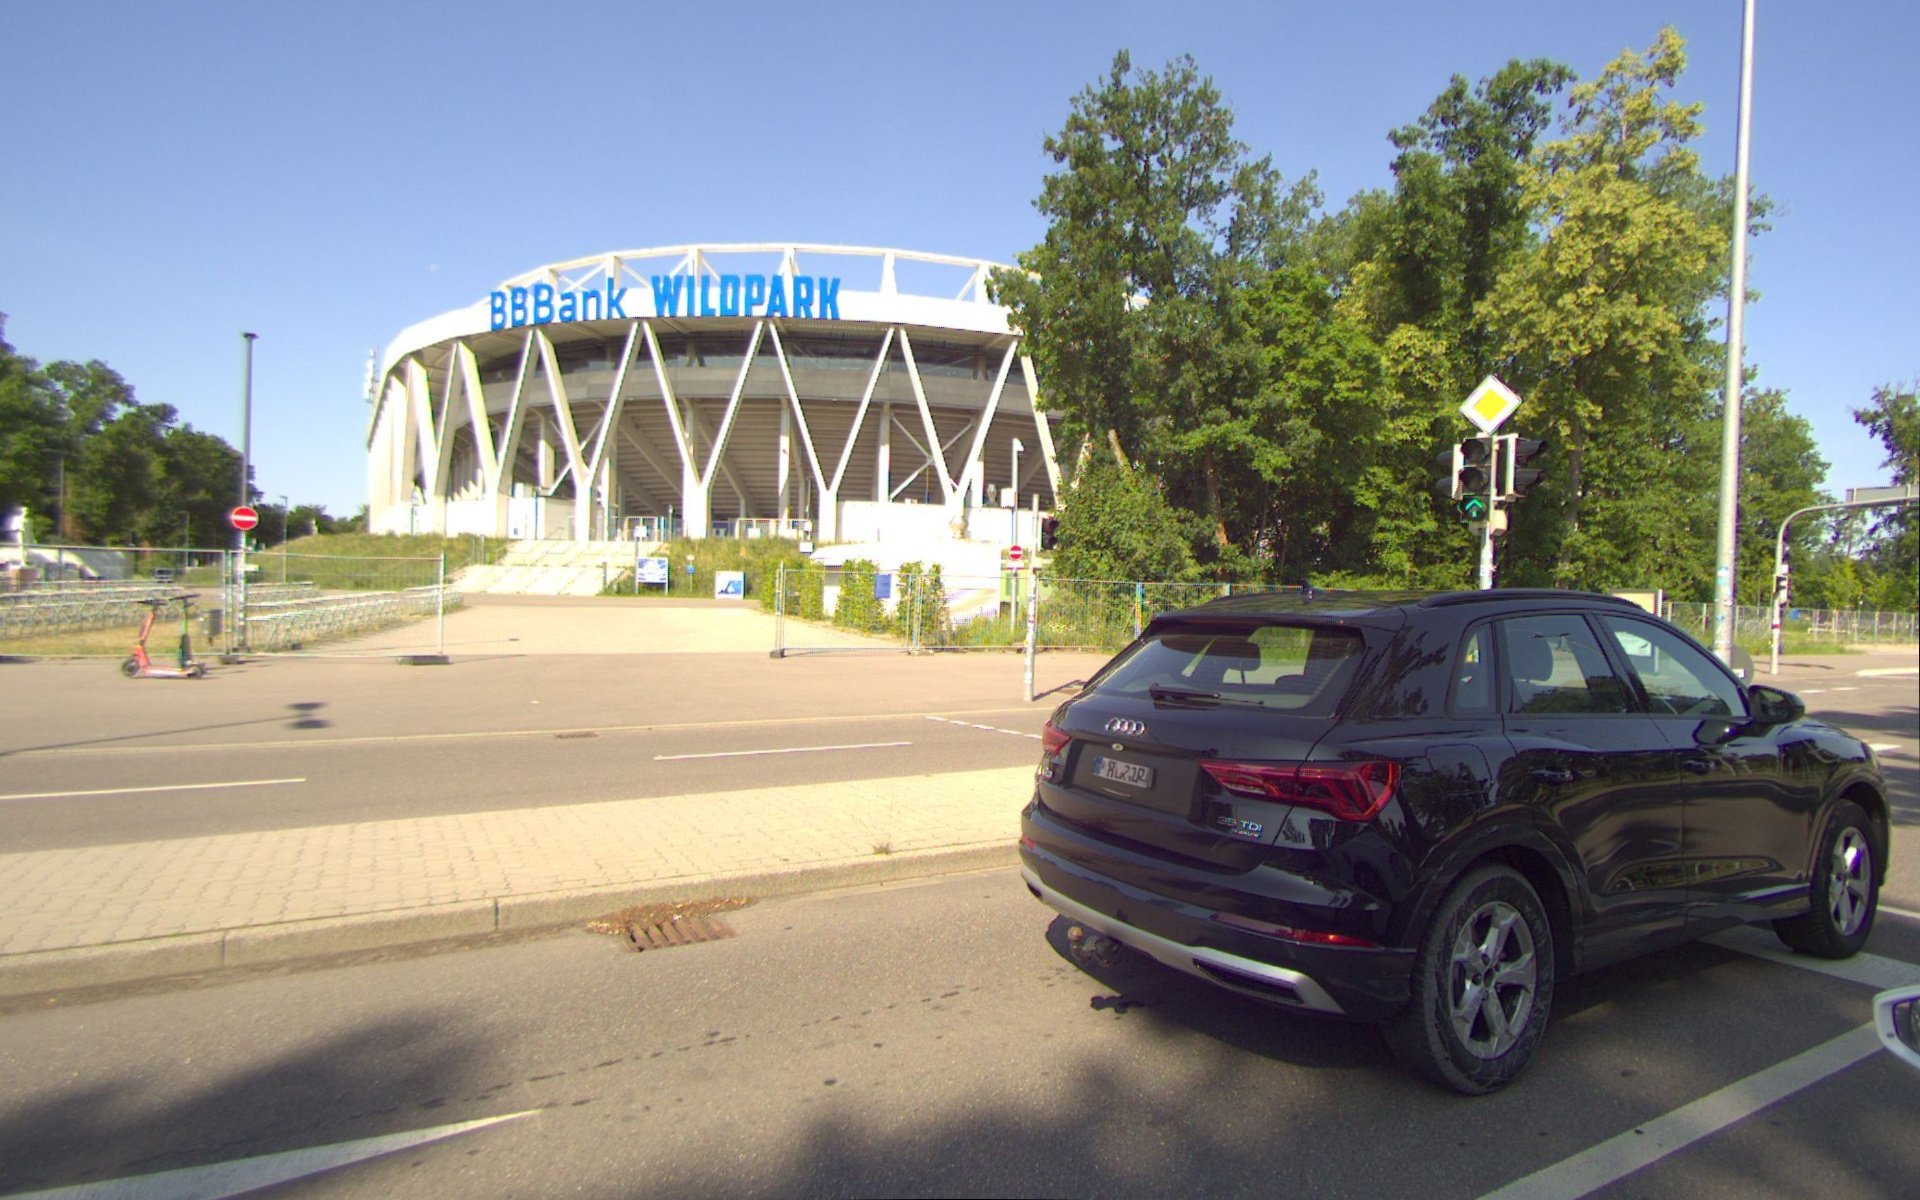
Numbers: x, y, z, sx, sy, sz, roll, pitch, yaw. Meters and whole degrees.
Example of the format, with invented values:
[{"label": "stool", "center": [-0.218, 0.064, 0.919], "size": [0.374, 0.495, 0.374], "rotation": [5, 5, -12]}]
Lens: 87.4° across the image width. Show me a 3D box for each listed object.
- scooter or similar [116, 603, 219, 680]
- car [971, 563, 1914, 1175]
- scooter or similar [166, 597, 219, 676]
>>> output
[{"label": "scooter or similar", "center": [-12.336, 0.643, 15.667], "size": [1.180, 1.161, 0.393], "rotation": [1, 1, -25]}, {"label": "car", "center": [2.232, 0.727, 4.341], "size": [4.100, 1.565, 1.680], "rotation": [1, -1, -30]}, {"label": "scooter or similar", "center": [-12.596, 0.580, 16.481], "size": [1.064, 1.238, 0.395], "rotation": [2, 1, 36]}]
